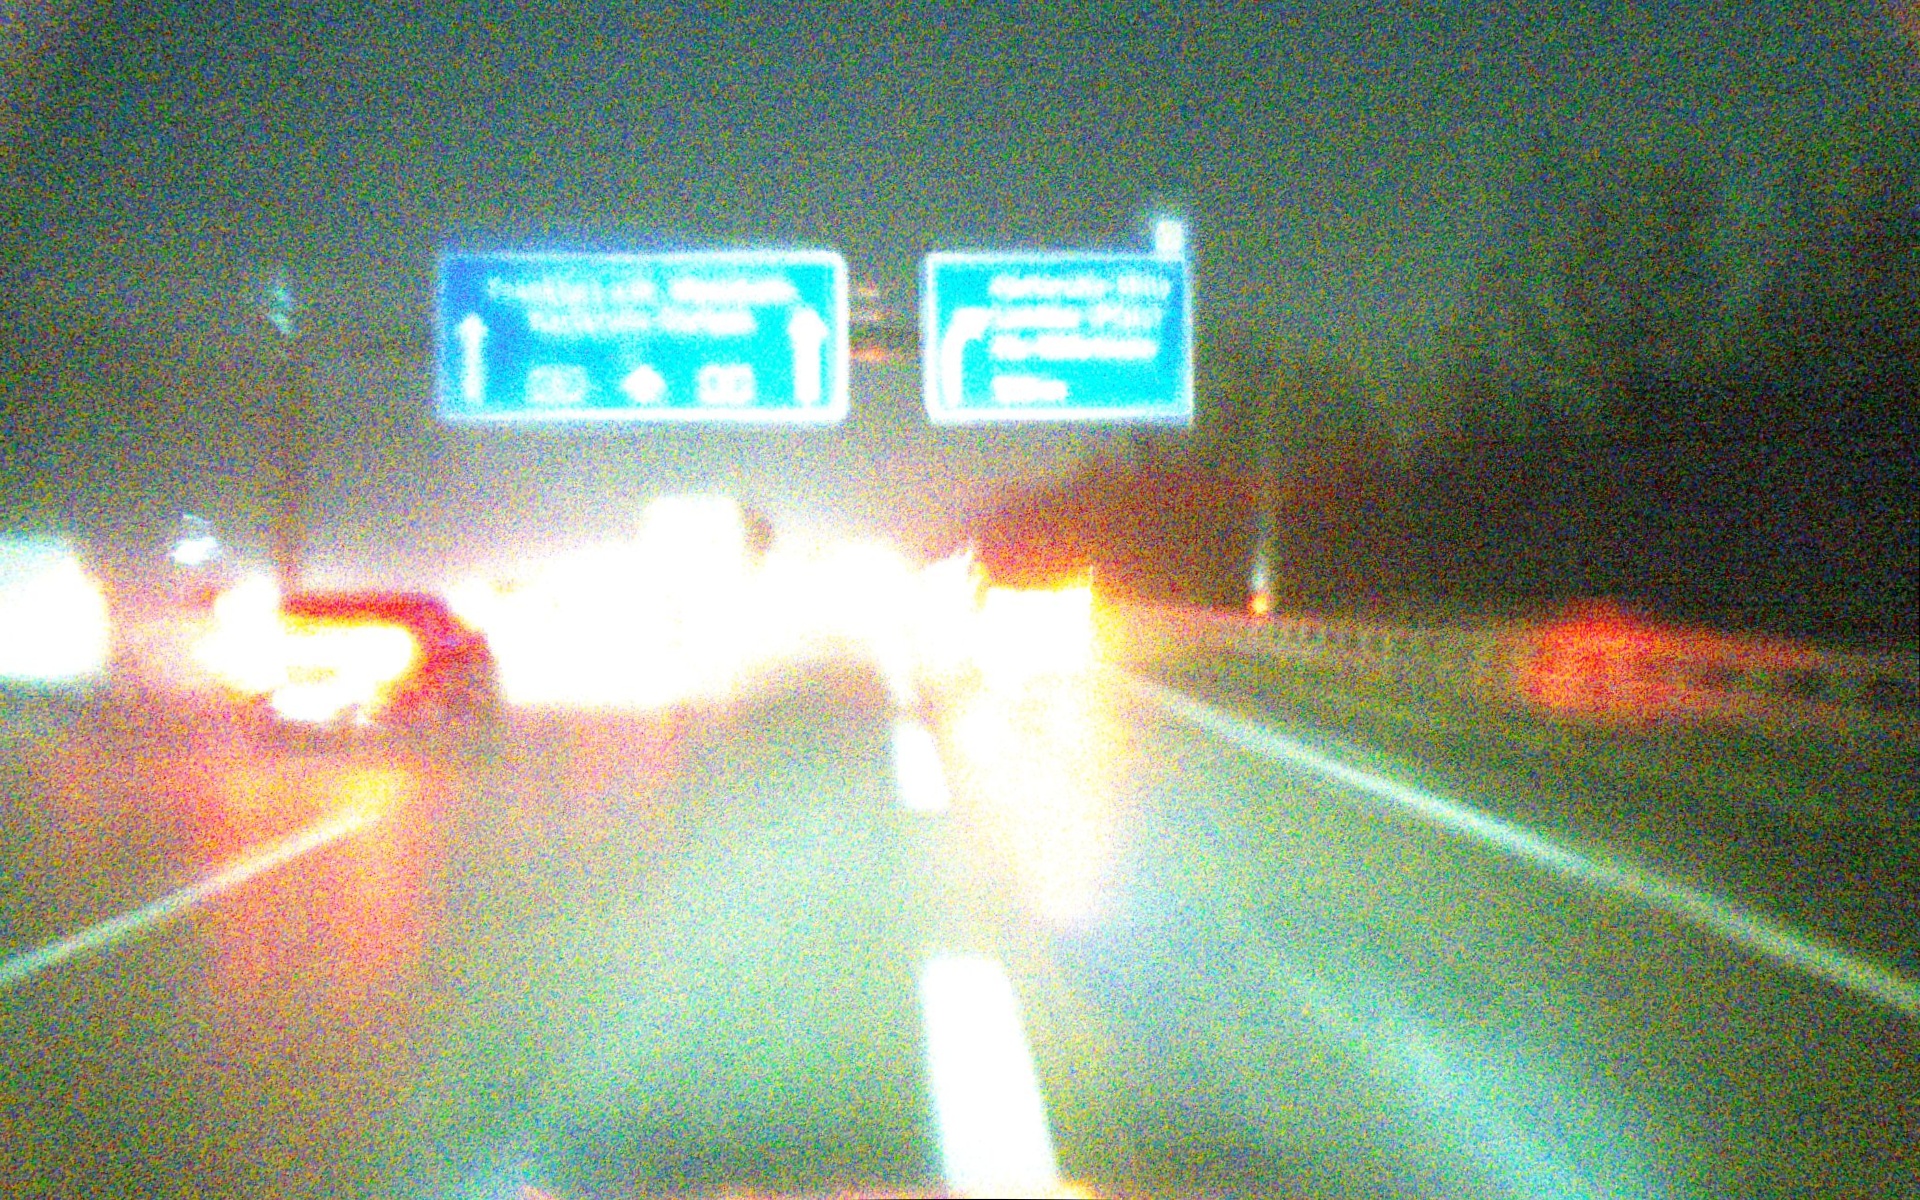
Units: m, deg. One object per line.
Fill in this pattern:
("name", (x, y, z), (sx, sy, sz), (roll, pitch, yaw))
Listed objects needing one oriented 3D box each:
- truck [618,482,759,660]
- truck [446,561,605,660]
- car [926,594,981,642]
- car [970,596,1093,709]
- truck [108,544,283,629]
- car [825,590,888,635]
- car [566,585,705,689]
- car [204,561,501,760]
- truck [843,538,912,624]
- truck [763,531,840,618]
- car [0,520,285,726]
("truck", (-8.069, -0.799, 50.432), (3.586, 4.820, 9.839), (1, 0, -6))
("truck", (-10.715, 0.254, 41.349), (2.801, 2.239, 5.853), (1, 0, -5))
("car", (-0.290, 0.675, 64.124), (1.953, 1.733, 4.456), (1, 0, -2))
("car", (1.169, 0.853, 28.782), (1.840, 1.793, 3.999), (1, 0, -1))
("truck", (-28.254, -0.474, 61.558), (2.841, 2.896, 7.743), (1, 0, 0))
("car", (-4.975, 0.586, 80.324), (2.775, 2.049, 5.508), (1, 0, -2))
("car", (-6.066, 0.649, 31.445), (1.998, 1.792, 4.512), (1, 0, -4))
("car", (-5.842, 0.505, 16.413), (1.731, 1.718, 3.996), (1, 1, -5))
("truck", (-5.507, -1.190, 108.157), (4.080, 5.306, 9.944), (1, 0, -5))
("truck", (-10.603, -1.649, 111.999), (4.167, 5.539, 10.882), (1, 0, -1))
("car", (-10.249, 0.221, 20.008), (2.081, 2.141, 5.626), (1, 0, -3))
